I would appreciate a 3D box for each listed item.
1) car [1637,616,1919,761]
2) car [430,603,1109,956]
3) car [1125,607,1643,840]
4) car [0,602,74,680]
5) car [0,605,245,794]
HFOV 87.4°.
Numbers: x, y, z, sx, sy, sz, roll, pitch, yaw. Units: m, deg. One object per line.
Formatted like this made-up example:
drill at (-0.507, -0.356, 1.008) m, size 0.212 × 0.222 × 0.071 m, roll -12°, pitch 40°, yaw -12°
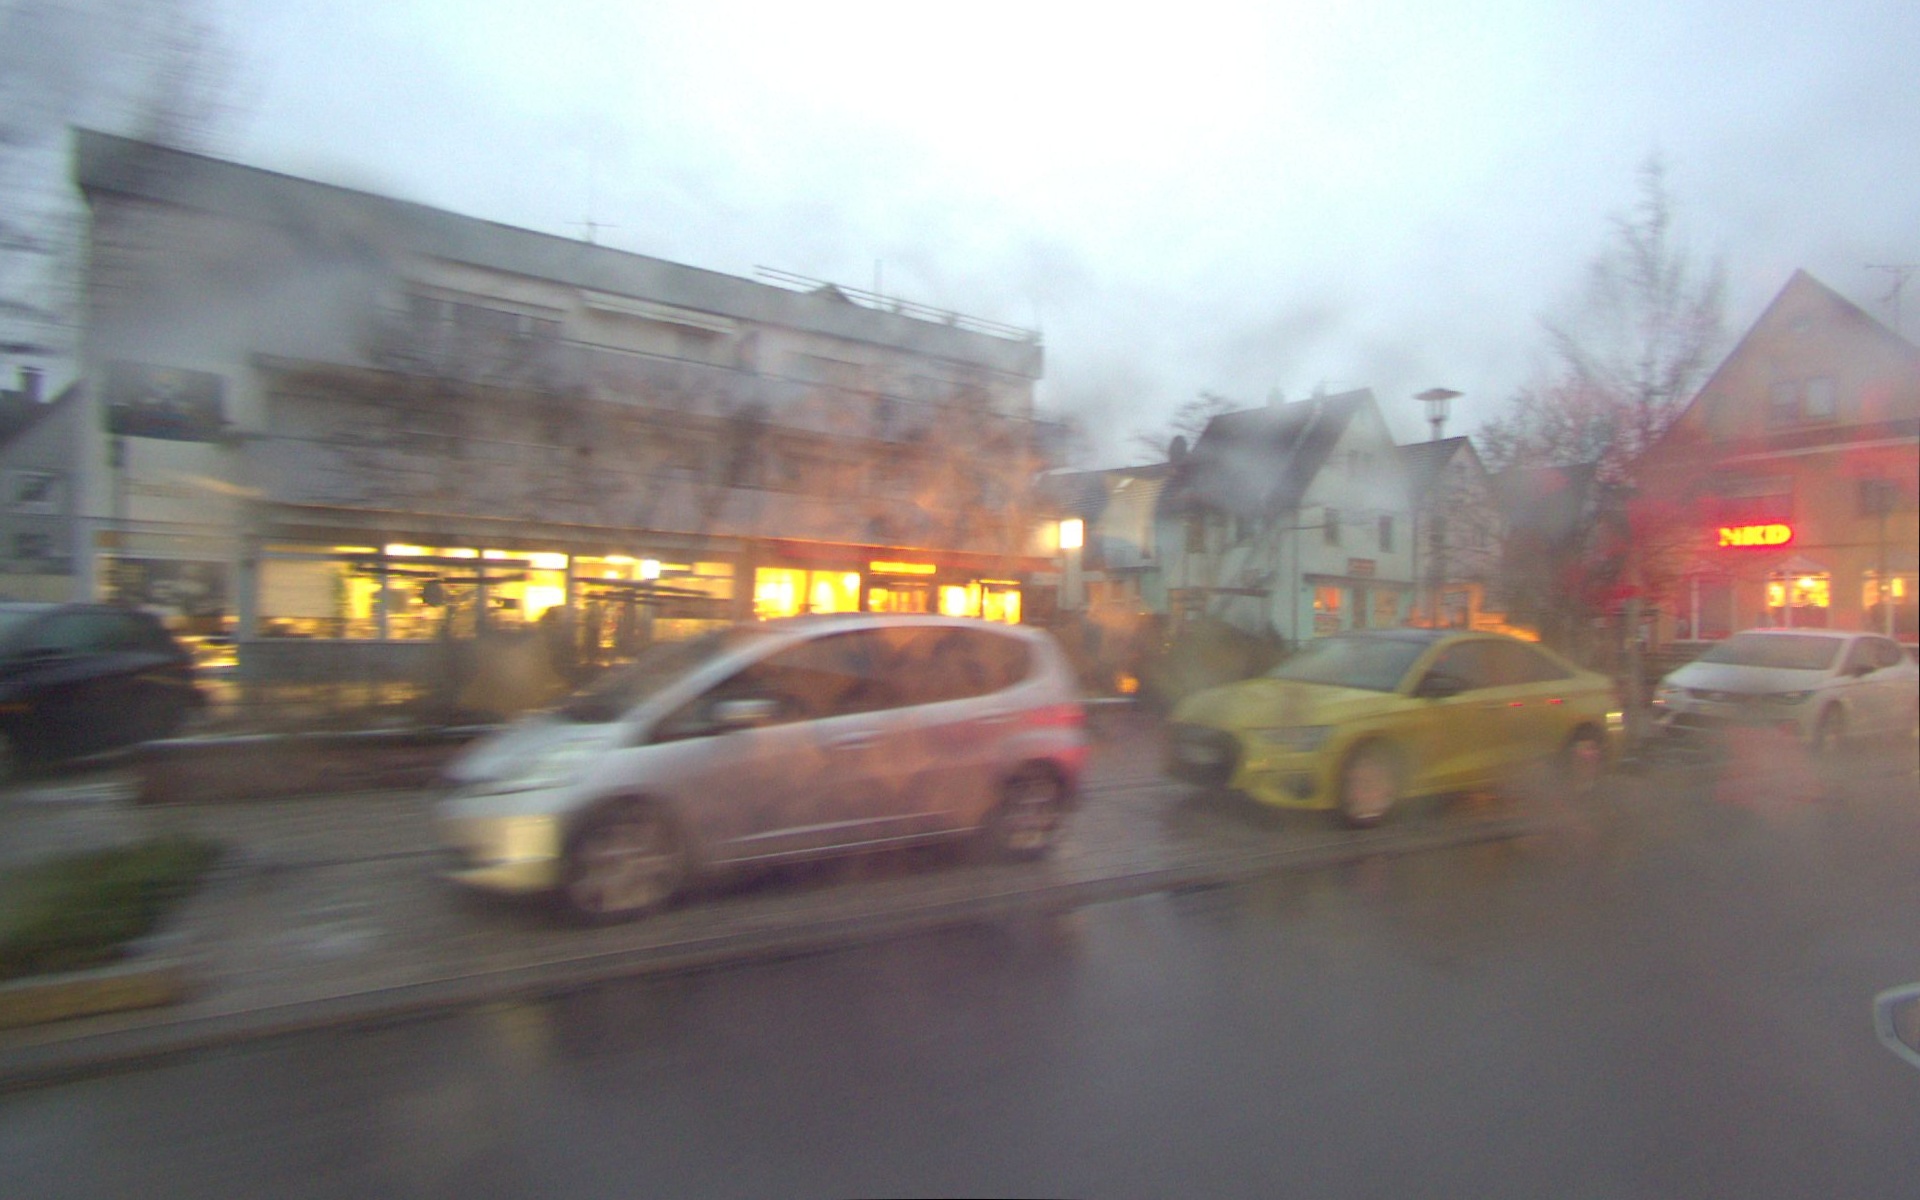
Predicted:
car at (10.557, 1.025, 12.696) m, size 3.951 × 1.536 × 1.662 m, roll 1°, pitch 1°, yaw -29°
car at (-1.079, 0.833, 6.140) m, size 3.730 × 1.536 × 1.683 m, roll 1°, pitch 0°, yaw -32°
car at (3.683, 0.891, 8.586) m, size 4.287 × 1.536 × 1.742 m, roll 1°, pitch 1°, yaw -28°
car at (-19.800, 0.783, 20.485) m, size 1.855 × 1.486 × 3.967 m, roll 1°, pitch -1°, yaw -31°
car at (-8.559, 0.827, 8.959) m, size 1.707 × 1.496 × 4.086 m, roll 0°, pitch -2°, yaw -5°
